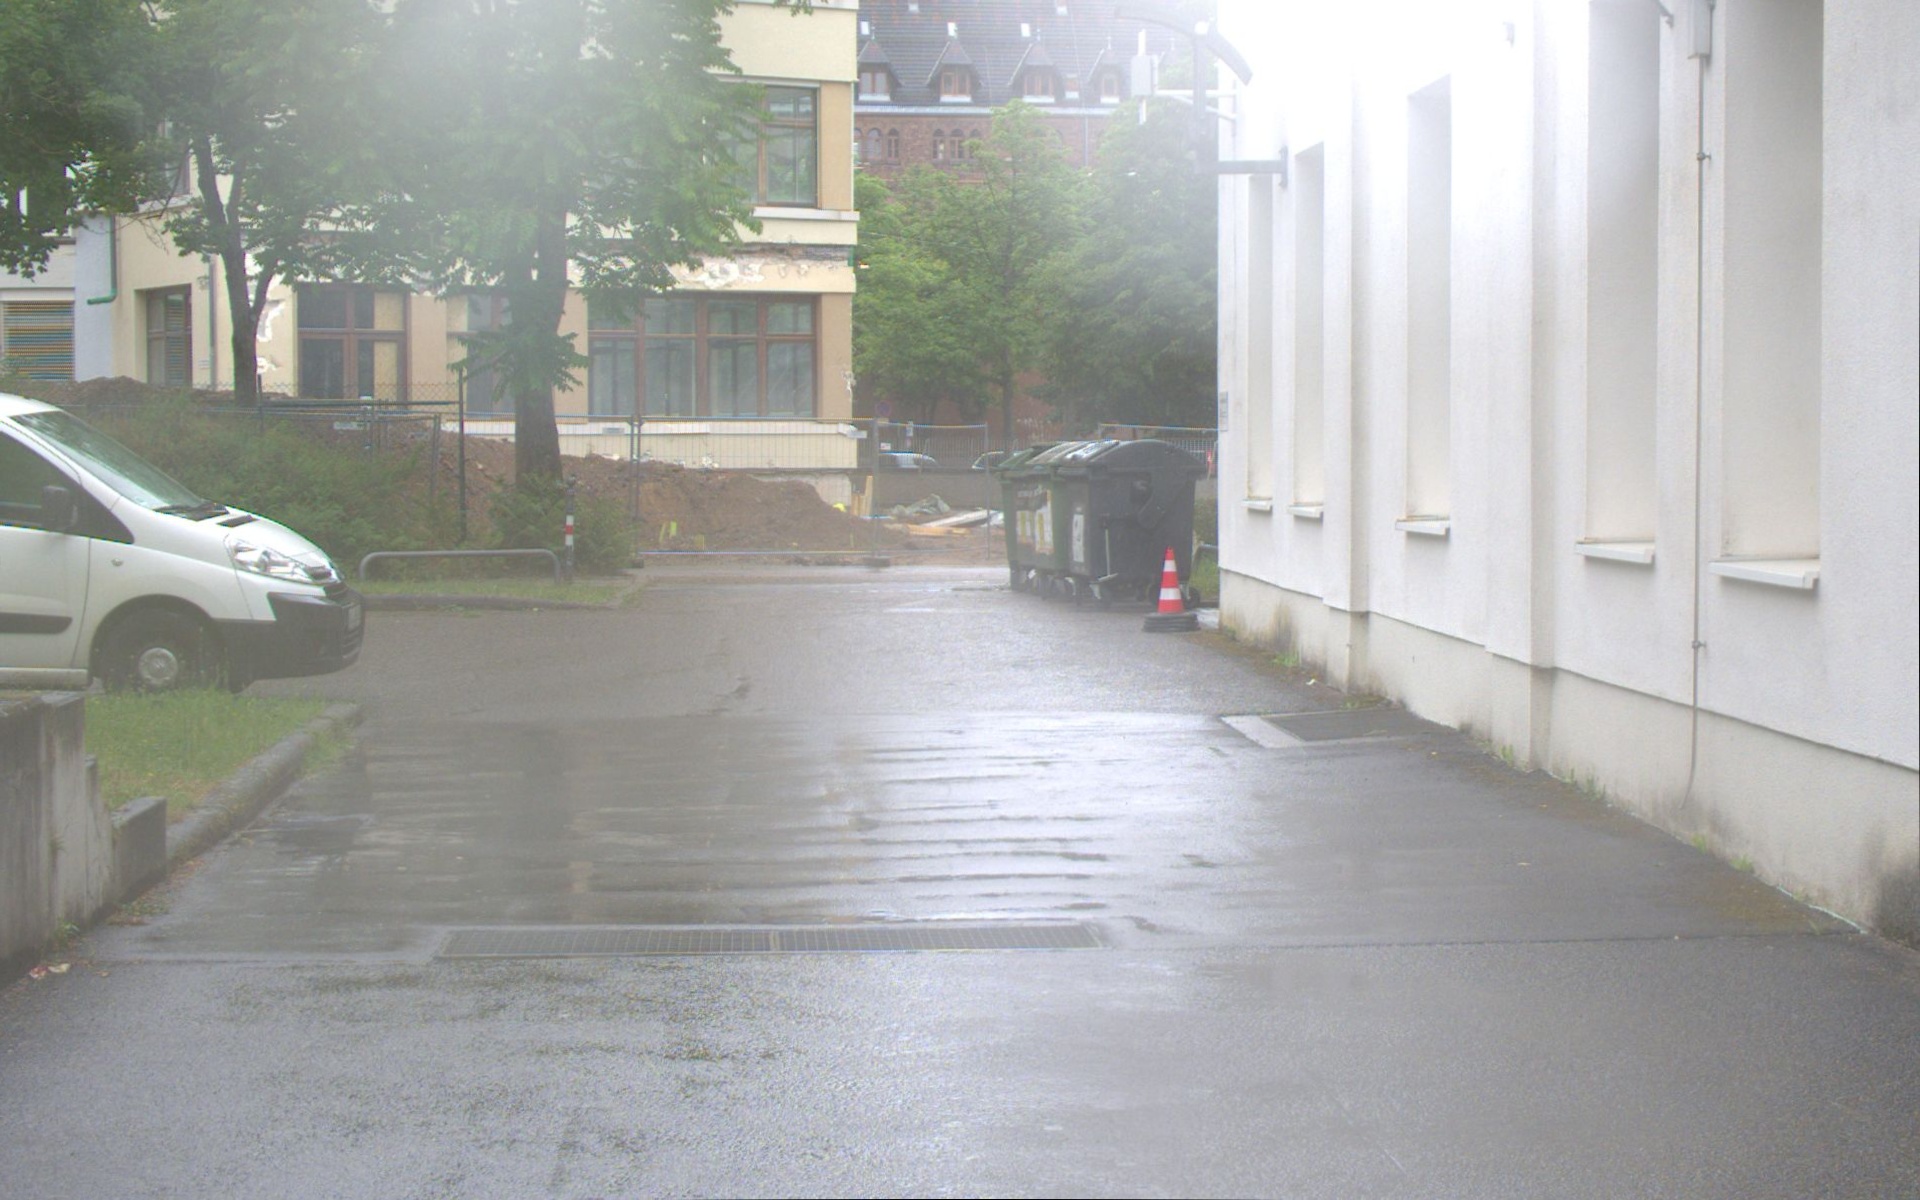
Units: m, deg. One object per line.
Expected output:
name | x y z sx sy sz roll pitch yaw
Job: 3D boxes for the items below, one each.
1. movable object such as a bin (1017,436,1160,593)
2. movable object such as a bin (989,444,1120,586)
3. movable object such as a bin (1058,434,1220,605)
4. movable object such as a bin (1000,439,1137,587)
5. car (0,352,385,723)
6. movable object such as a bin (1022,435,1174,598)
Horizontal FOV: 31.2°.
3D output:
movable object such as a bin | 1.210 -0.802 32.745 1.214 1.463 1.236 0 0 -5
movable object such as a bin | 0.967 -0.863 35.491 1.214 1.432 1.259 0 0 -5
movable object such as a bin | 1.518 -0.679 29.433 1.214 1.432 1.236 0 0 -5
movable object such as a bin | 1.069 -0.850 34.115 1.214 1.432 1.259 0 0 -5
car | -5.856 -0.379 19.736 4.780 2.006 2.001 -1 3 -2
movable object such as a bin | 1.239 -0.746 31.112 1.214 1.432 1.294 0 0 -5
